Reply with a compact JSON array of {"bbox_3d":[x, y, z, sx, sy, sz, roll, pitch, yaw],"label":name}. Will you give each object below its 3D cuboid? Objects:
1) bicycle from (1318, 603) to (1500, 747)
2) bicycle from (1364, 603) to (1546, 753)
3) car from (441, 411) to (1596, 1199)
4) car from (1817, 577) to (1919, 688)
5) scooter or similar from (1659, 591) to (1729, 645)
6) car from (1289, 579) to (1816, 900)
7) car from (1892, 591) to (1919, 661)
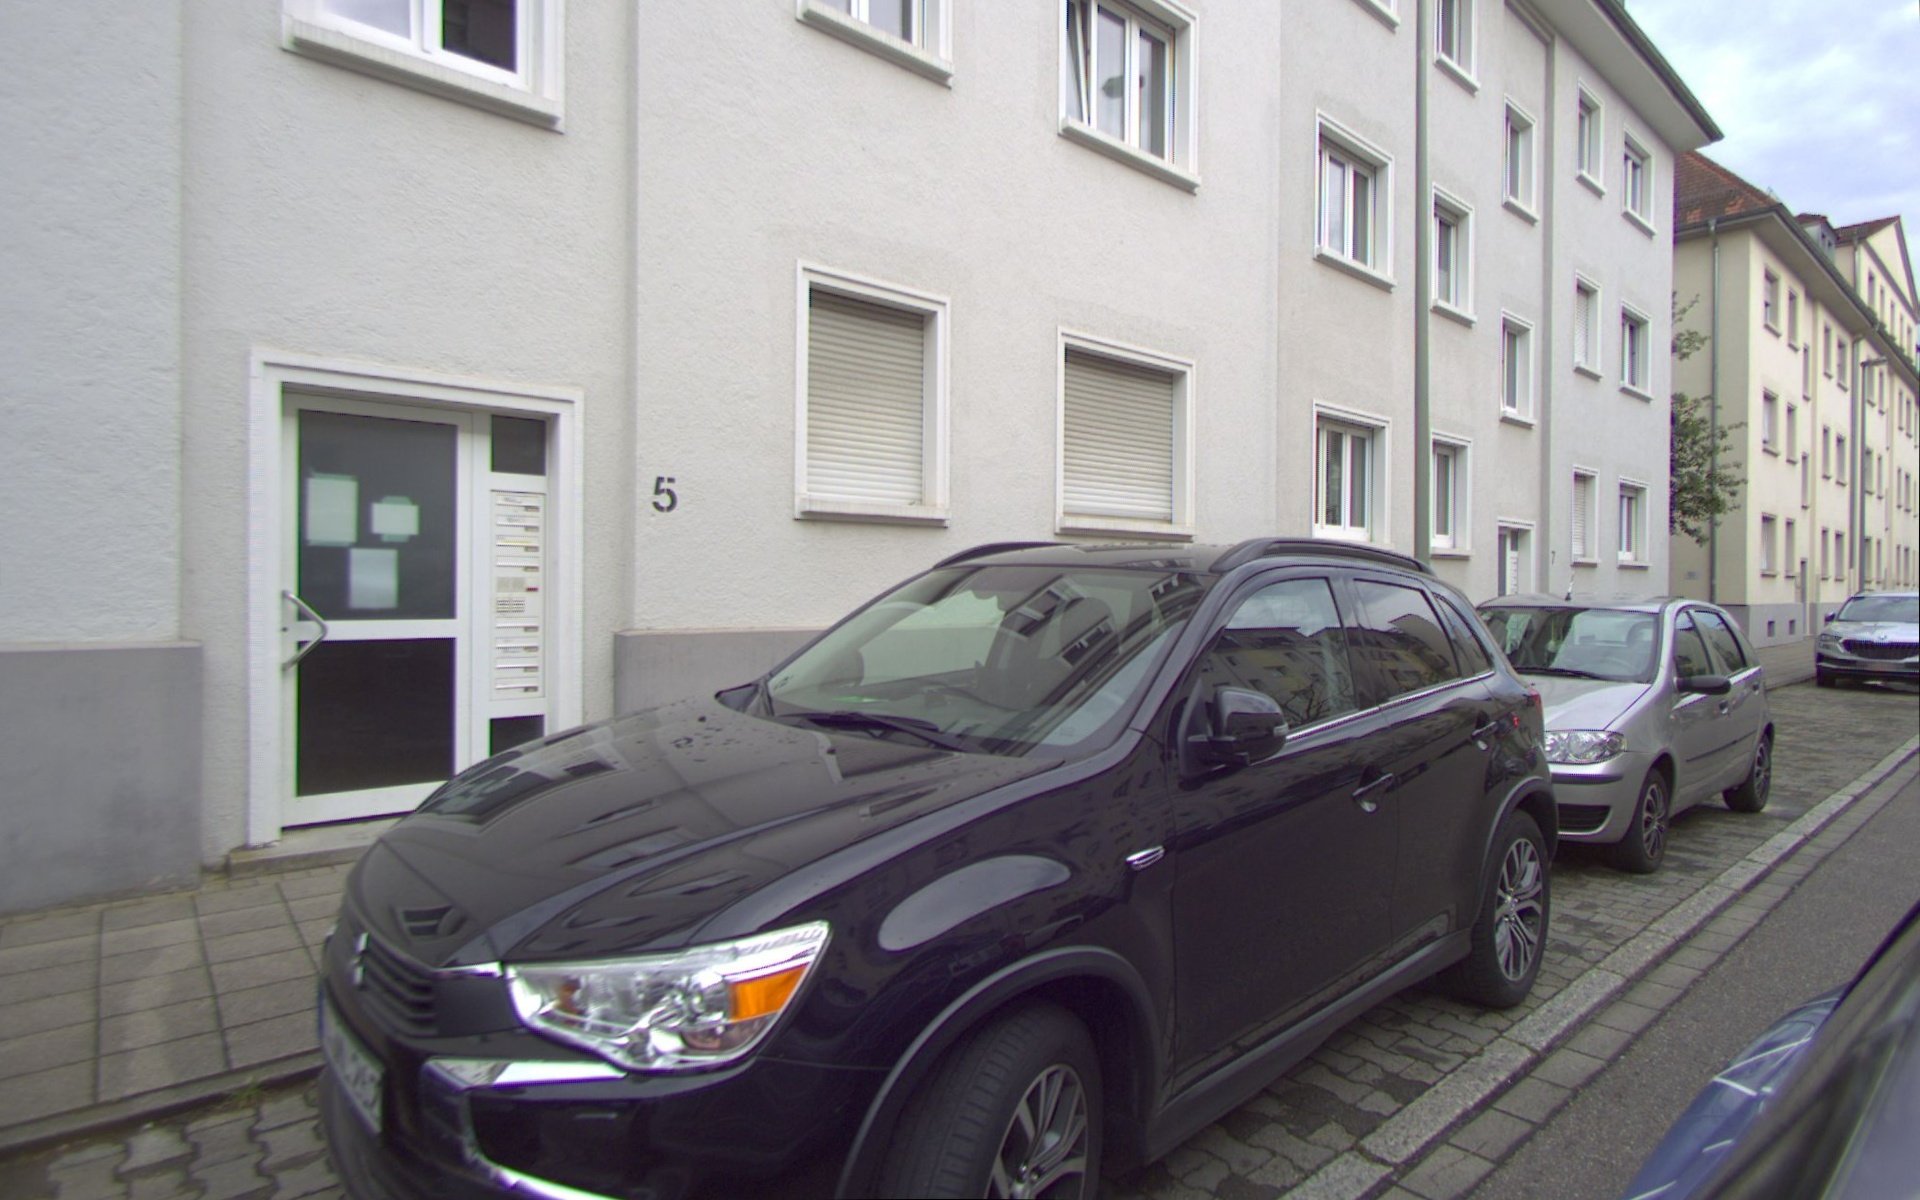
[{"bbox_3d":[4.179,0.640,9.359,1.998,1.190,0.578,0,1,-35],"label":"bicycle"},{"bbox_3d":[4.430,0.639,9.002,1.997,1.190,0.532,0,1,-35],"label":"bicycle"},{"bbox_3d":[0.627,0.514,3.545,4.023,1.623,1.822,0,1,-44],"label":"car"},{"bbox_3d":[15.816,0.475,16.751,4.018,1.663,1.824,0,1,-40],"label":"car"},{"bbox_3d":[17.811,0.411,24.586,0.512,1.261,1.284,0,0,-24],"label":"scooter or similar"},{"bbox_3d":[4.141,0.644,6.808,4.018,1.522,1.824,0,1,-40],"label":"car"},{"bbox_3d":[22.289,0.541,22.445,4.423,1.495,1.729,0,1,-39],"label":"car"}]
